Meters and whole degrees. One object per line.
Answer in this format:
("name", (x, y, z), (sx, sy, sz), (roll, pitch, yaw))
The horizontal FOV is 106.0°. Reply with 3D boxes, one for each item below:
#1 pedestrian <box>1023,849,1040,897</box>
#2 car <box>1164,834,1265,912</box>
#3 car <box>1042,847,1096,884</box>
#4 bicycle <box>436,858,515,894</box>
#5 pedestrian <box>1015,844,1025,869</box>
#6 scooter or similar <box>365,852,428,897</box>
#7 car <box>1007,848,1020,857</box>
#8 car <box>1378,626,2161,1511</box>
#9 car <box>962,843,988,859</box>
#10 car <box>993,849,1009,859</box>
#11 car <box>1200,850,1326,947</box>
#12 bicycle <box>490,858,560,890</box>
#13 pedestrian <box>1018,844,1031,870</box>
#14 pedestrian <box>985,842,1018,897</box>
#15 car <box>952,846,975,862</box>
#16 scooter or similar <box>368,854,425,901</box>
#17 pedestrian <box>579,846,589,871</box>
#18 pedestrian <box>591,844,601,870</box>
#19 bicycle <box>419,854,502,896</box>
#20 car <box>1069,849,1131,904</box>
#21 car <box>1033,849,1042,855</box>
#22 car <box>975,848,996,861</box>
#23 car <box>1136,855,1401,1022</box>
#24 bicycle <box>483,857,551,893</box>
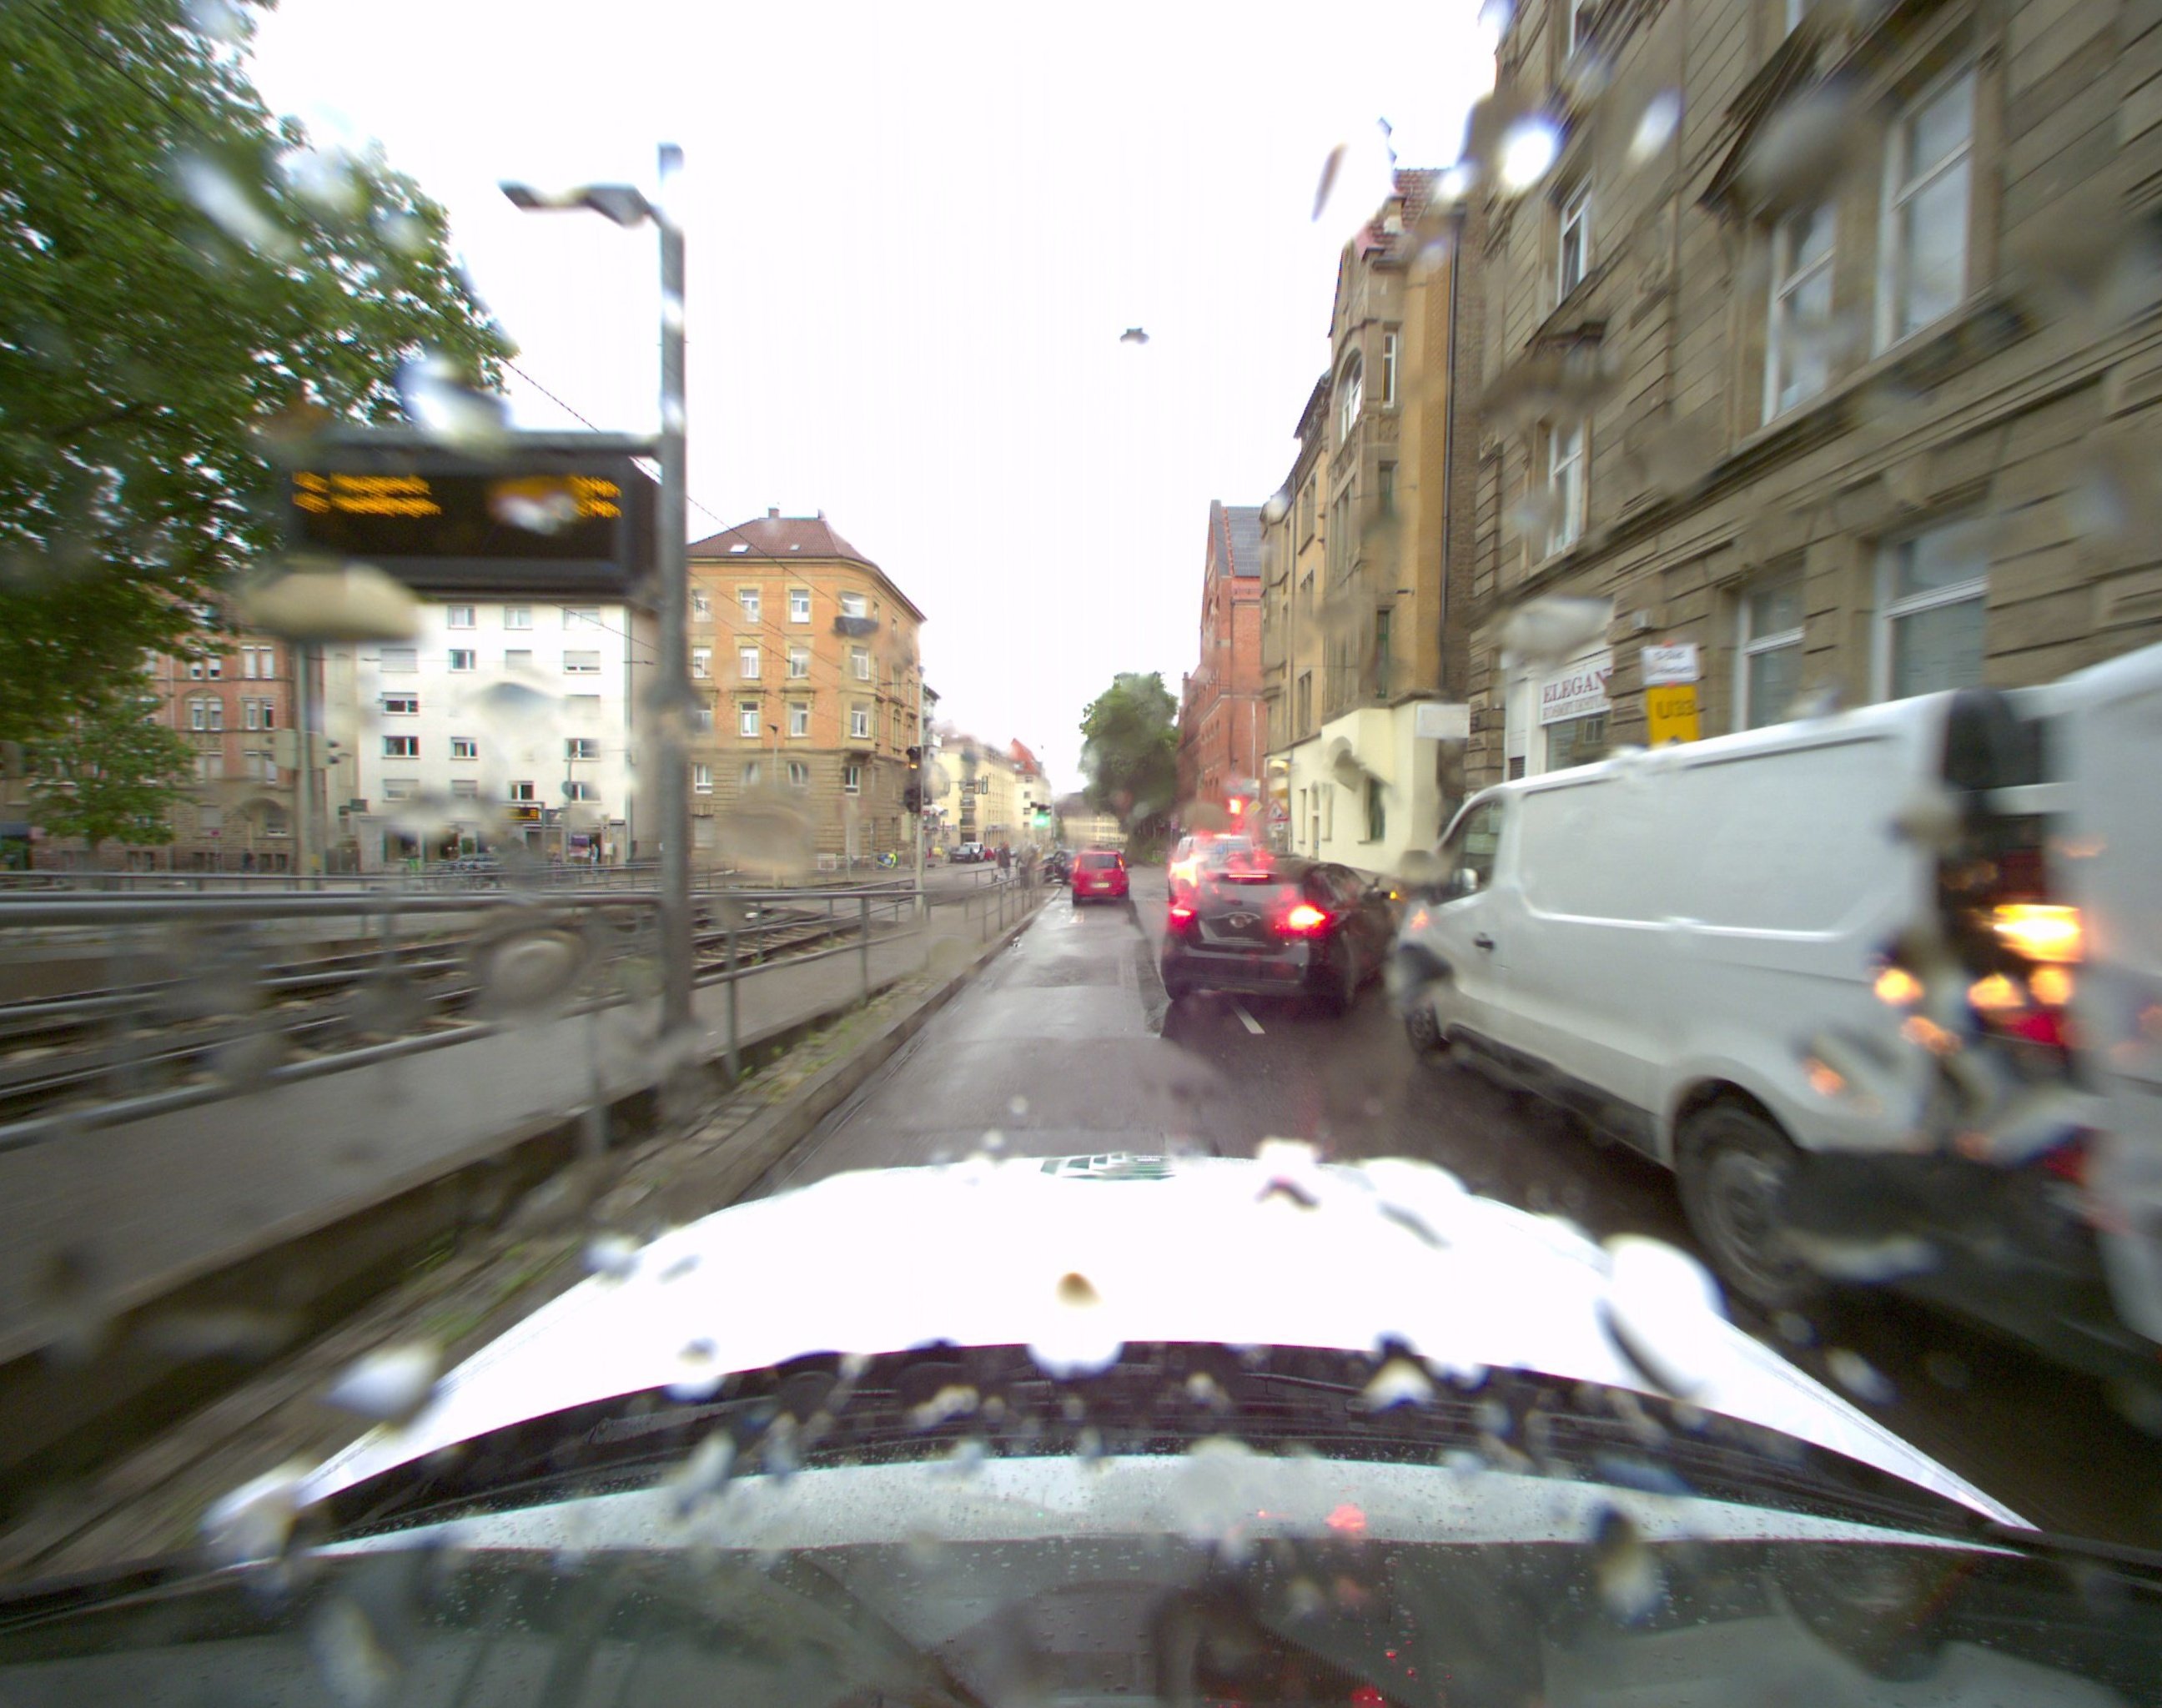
("pedestrian", (-1.575, 0.594, 25.829), (0.531, 1.530, 0.436), (1, 0, -6))
("car", (3.381, 0.427, 21.365), (1.927, 1.831, 4.280), (1, 0, 0))
("car", (-0.559, 0.485, 35.440), (1.424, 1.489, 3.142), (1, 1, -19))
("bicycle", (-18.295, 0.653, 24.650), (1.870, 1.061, 0.516), (0, 0, -10))
("pedestrian", (-4.138, 0.194, 55.226), (0.516, 1.666, 0.477), (2, 0, 5))
("scooter or similar", (-18.554, 0.534, 22.095), (0.296, 1.195, 1.259), (0, 0, 41))
("car", (-9.449, -0.230, 113.936), (1.389, 1.171, 3.164), (1, 0, 3))
("car", (3.175, 0.470, 4.093), (1.912, 1.936, 4.690), (0, 0, 3))
("car", (-10.561, -0.314, 81.569), (1.779, 1.530, 4.465), (1, 0, 3))
("car", (-9.876, 0.006, 100.615), (1.431, 1.106, 3.164), (1, 0, 3))
("car", (3.109, 0.668, 14.657), (1.705, 1.469, 4.288), (1, 0, 6))
("bicycle", (-18.698, 0.672, 27.417), (1.870, 1.065, 0.516), (0, 0, -9))
("pedestrian", (-3.767, 0.196, 54.300), (0.675, 1.661, 0.678), (0, 0, 9))
("pedestrian", (-2.542, 0.492, 25.944), (0.745, 1.724, 0.732), (1, 0, -41))
("car", (-10.810, -0.016, 75.017), (1.446, 1.318, 3.296), (2, 1, 1))
("scooter or similar", (-18.143, 0.607, 21.598), (0.357, 1.195, 1.119), (0, 0, 41))
("pedestrian", (-31.526, 0.279, 51.652), (0.520, 1.622, 0.481), (0, 0, -37))
("pedestrian", (-30.835, 0.194, 51.787), (0.520, 1.622, 0.481), (0, 0, -37))
("bicycle", (-18.013, 0.617, 23.671), (1.870, 1.195, 0.516), (0, 0, -9))
("car", (0.545, 0.609, 23.878), (1.674, 1.489, 3.613), (0, 0, 0))
("car", (-8.137, -0.364, 153.493), (1.389, 1.171, 3.164), (1, 0, 3))
("car", (-10.258, 0.075, 87.877), (1.673, 1.356, 3.706), (1, 0, 3))
("car", (2.300, 0.711, 9.052), (1.877, 1.390, 4.024), (0, 0, 28))
("bicycle", (-18.457, 0.681, 26.684), (1.766, 1.142, 0.516), (0, 0, -9))
